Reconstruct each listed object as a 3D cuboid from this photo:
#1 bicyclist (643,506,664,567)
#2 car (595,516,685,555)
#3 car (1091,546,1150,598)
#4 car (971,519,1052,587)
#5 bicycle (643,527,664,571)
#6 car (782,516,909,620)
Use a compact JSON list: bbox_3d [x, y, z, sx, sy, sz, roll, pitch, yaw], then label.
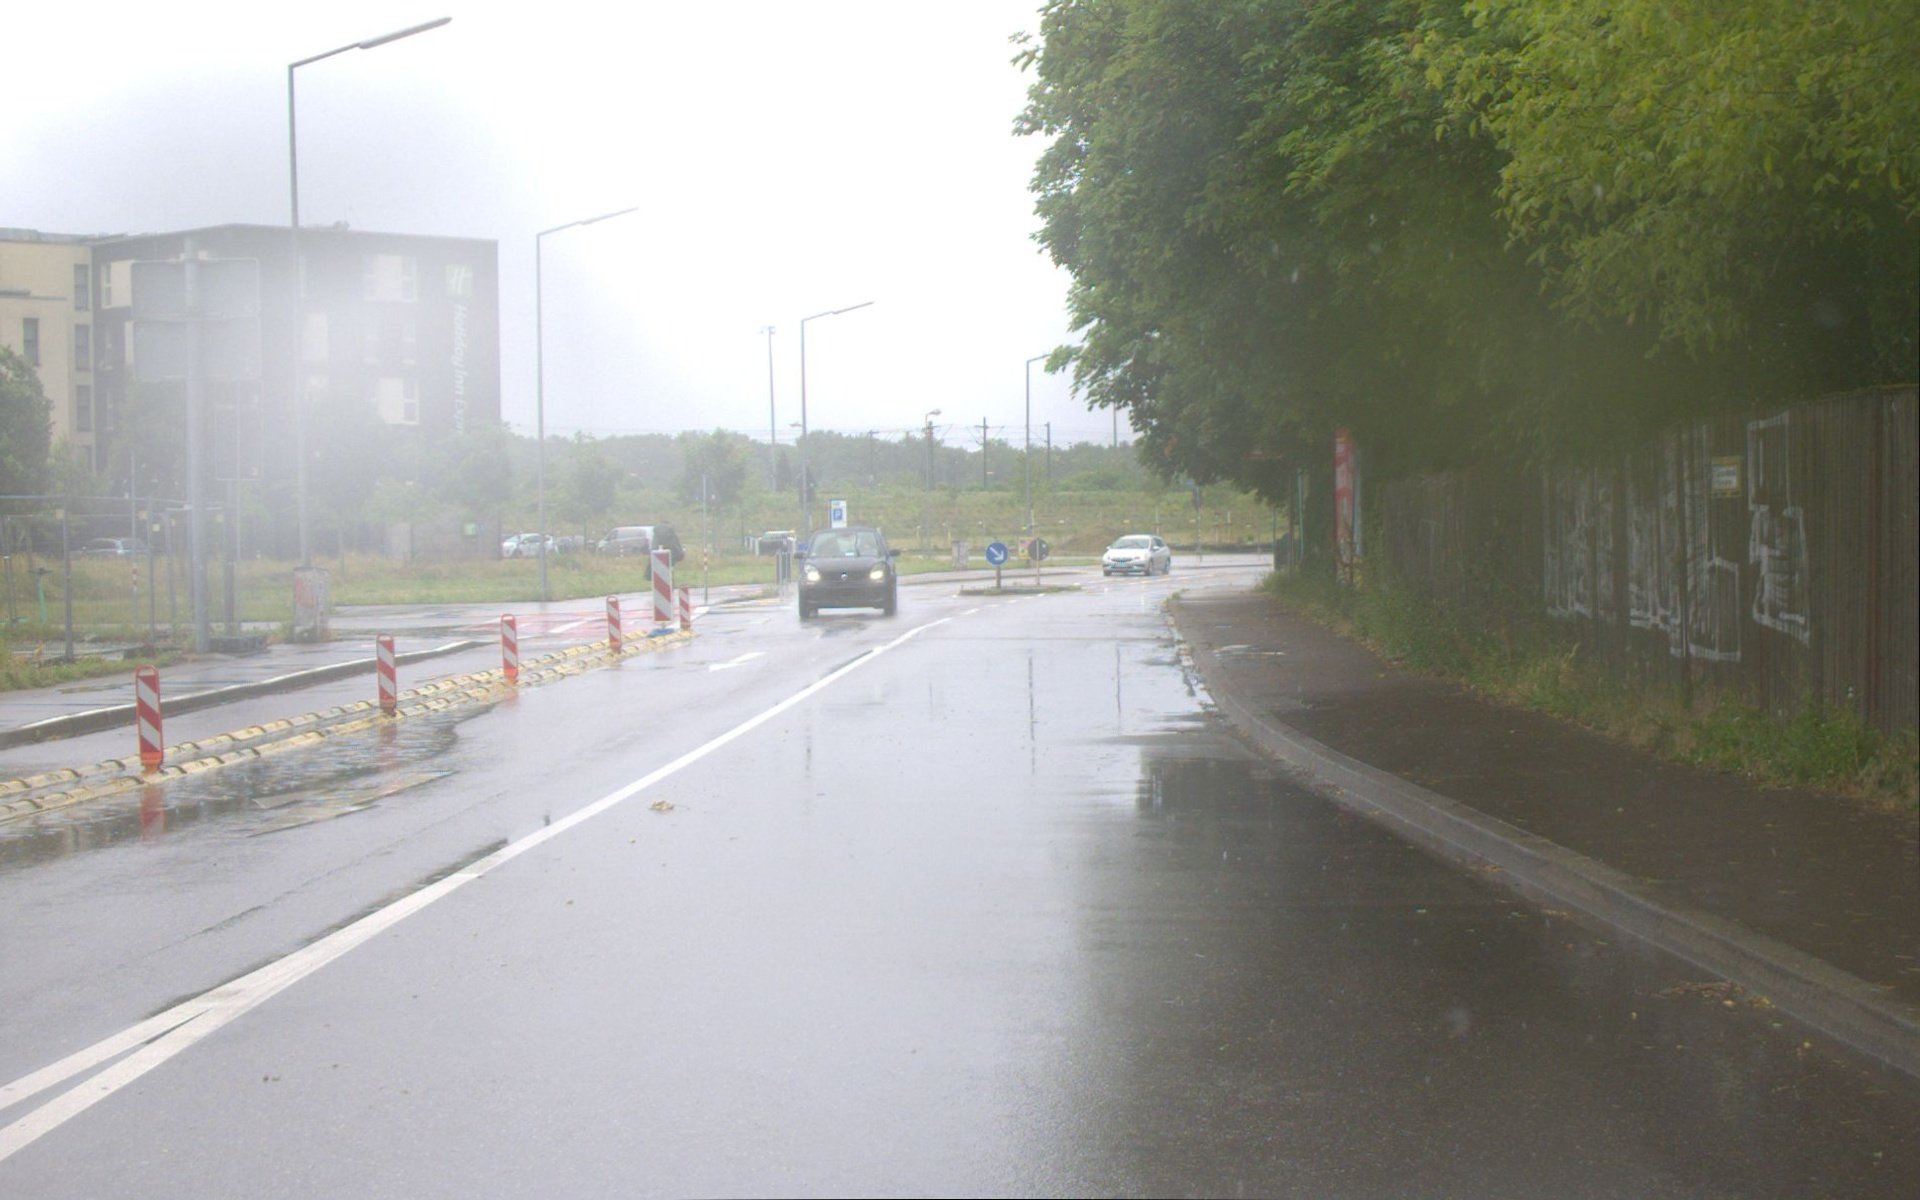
[{"bbox_3d":[-7.162,-1.487,80.290,0.444,1.399,0.550,-1,-1,-1],"label":"bicyclist"},{"bbox_3d":[-15.611,-3.135,167.844,3.989,1.766,1.999,0,-1,-42],"label":"car"},{"bbox_3d":[5.916,-1.020,126.467,1.994,1.766,3.999,-1,-1,5],"label":"car"},{"bbox_3d":[1.477,-1.305,97.005,1.994,1.766,3.999,-1,-1,5],"label":"car"},{"bbox_3d":[-7.142,-1.186,80.207,0.427,1.016,1.612,0,1,-3],"label":"bicycle"},{"bbox_3d":[-1.999,-0.592,61.262,1.993,1.766,4.000,-1,1,2],"label":"car"}]
